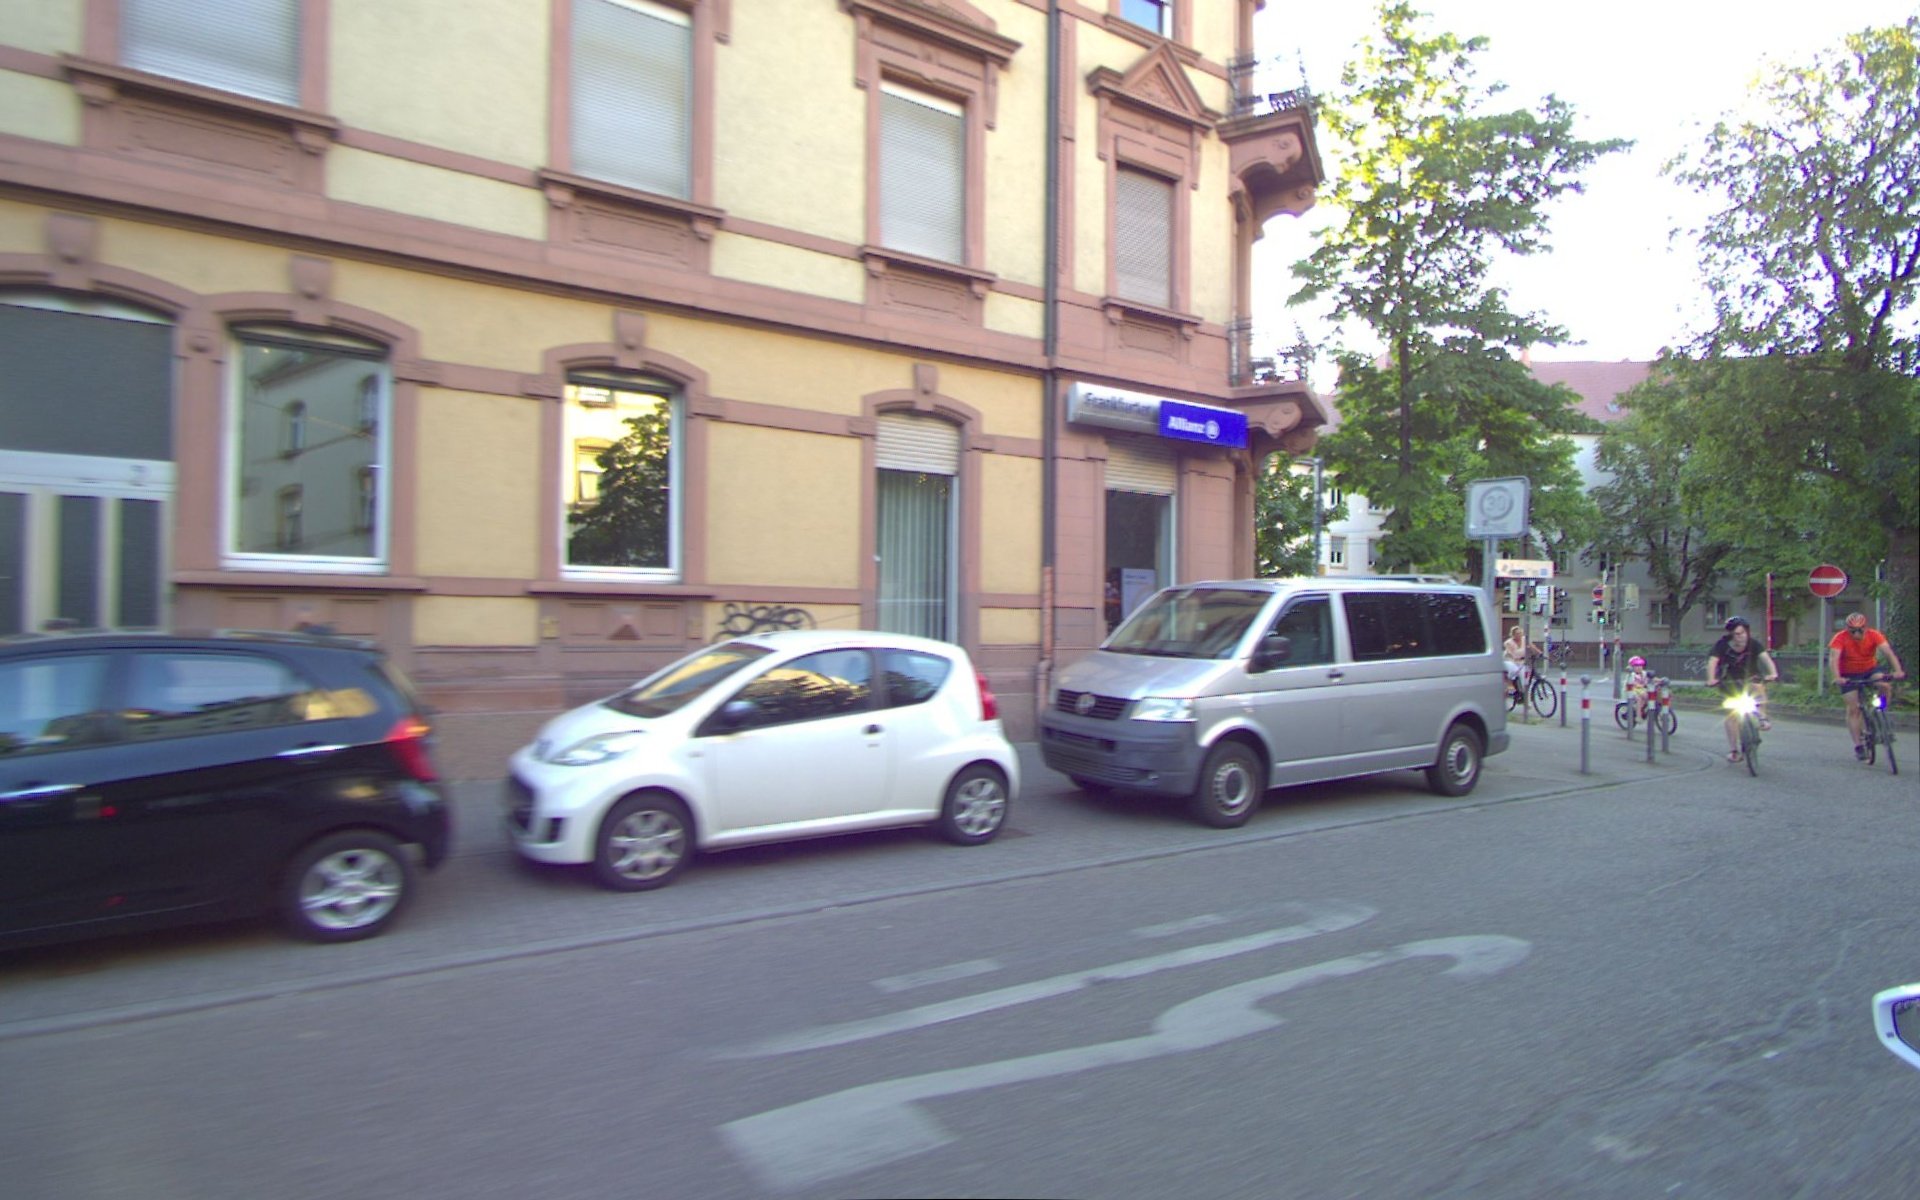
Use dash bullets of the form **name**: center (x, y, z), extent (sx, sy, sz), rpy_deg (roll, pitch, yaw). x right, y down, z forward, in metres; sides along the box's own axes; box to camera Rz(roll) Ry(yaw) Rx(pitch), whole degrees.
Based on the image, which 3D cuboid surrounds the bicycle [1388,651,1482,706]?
- **bicycle**: center (10.352, 1.685, 21.948), extent (0.677, 1.109, 1.794), rpy_deg (1, -2, -30)

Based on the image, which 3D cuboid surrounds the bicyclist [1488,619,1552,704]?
- **bicyclist**: center (10.799, 1.176, 19.408), extent (0.713, 1.604, 0.875), rpy_deg (1, -1, -5)

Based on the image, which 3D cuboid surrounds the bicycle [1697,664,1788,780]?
- **bicycle**: center (8.821, 1.324, 11.378), extent (0.711, 1.122, 2.008), rpy_deg (0, -2, 35)

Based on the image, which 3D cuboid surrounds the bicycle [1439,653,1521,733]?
- **bicycle**: center (7.831, 1.365, 15.084), extent (1.786, 1.097, 0.553), rpy_deg (2, -1, -44)

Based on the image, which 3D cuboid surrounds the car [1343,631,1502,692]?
- **car**: center (12.624, 1.629, 27.820), extent (1.962, 1.537, 4.839), rpy_deg (1, -2, -4)

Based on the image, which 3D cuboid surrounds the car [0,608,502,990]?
- **car**: center (-4.355, 0.814, 4.781), extent (3.705, 1.511, 1.717), rpy_deg (1, 0, -35)

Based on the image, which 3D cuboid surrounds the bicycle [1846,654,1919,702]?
- **bicycle**: center (24.164, 1.993, 25.758), extent (2.081, 1.166, 0.684), rpy_deg (-1, -2, 36)

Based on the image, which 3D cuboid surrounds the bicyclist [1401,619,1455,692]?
- **bicyclist**: center (10.285, 1.201, 22.087), extent (0.671, 1.565, 0.868), rpy_deg (1, -2, -30)

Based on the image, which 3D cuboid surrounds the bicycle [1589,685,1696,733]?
- **bicycle**: center (10.762, 1.708, 15.887), extent (0.639, 0.651, 1.463), rpy_deg (1, -2, -4)

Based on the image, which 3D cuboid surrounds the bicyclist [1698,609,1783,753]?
- **bicyclist**: center (8.806, 0.887, 11.360), extent (0.704, 1.546, 0.864), rpy_deg (0, -2, 35)

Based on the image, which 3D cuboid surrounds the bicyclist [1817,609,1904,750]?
- **bicyclist**: center (10.349, 0.887, 11.574), extent (0.643, 1.546, 0.864), rpy_deg (0, -2, 36)

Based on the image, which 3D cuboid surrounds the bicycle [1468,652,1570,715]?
- **bicycle**: center (10.790, 1.596, 19.483), extent (0.715, 1.109, 2.046), rpy_deg (1, -2, -5)

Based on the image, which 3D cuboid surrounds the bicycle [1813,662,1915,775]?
- **bicycle**: center (10.267, 1.295, 11.468), extent (0.641, 1.122, 2.007), rpy_deg (0, -2, 36)

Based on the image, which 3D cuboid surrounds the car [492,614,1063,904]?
- **car**: center (-1.214, 0.897, 7.043), extent (3.574, 1.511, 1.674), rpy_deg (1, 0, -32)

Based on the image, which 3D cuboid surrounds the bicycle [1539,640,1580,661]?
- **bicycle**: center (33.401, 2.821, 55.997), extent (1.881, 1.166, 0.687), rpy_deg (0, -1, 3)

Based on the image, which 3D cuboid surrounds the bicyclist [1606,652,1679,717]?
- **bicyclist**: center (10.770, 1.320, 15.870), extent (0.636, 0.990, 0.730), rpy_deg (1, -1, -4)

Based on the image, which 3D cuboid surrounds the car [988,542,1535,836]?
- **car**: center (2.896, 0.671, 9.273), extent (4.947, 2.084, 2.030), rpy_deg (1, 0, -31)
